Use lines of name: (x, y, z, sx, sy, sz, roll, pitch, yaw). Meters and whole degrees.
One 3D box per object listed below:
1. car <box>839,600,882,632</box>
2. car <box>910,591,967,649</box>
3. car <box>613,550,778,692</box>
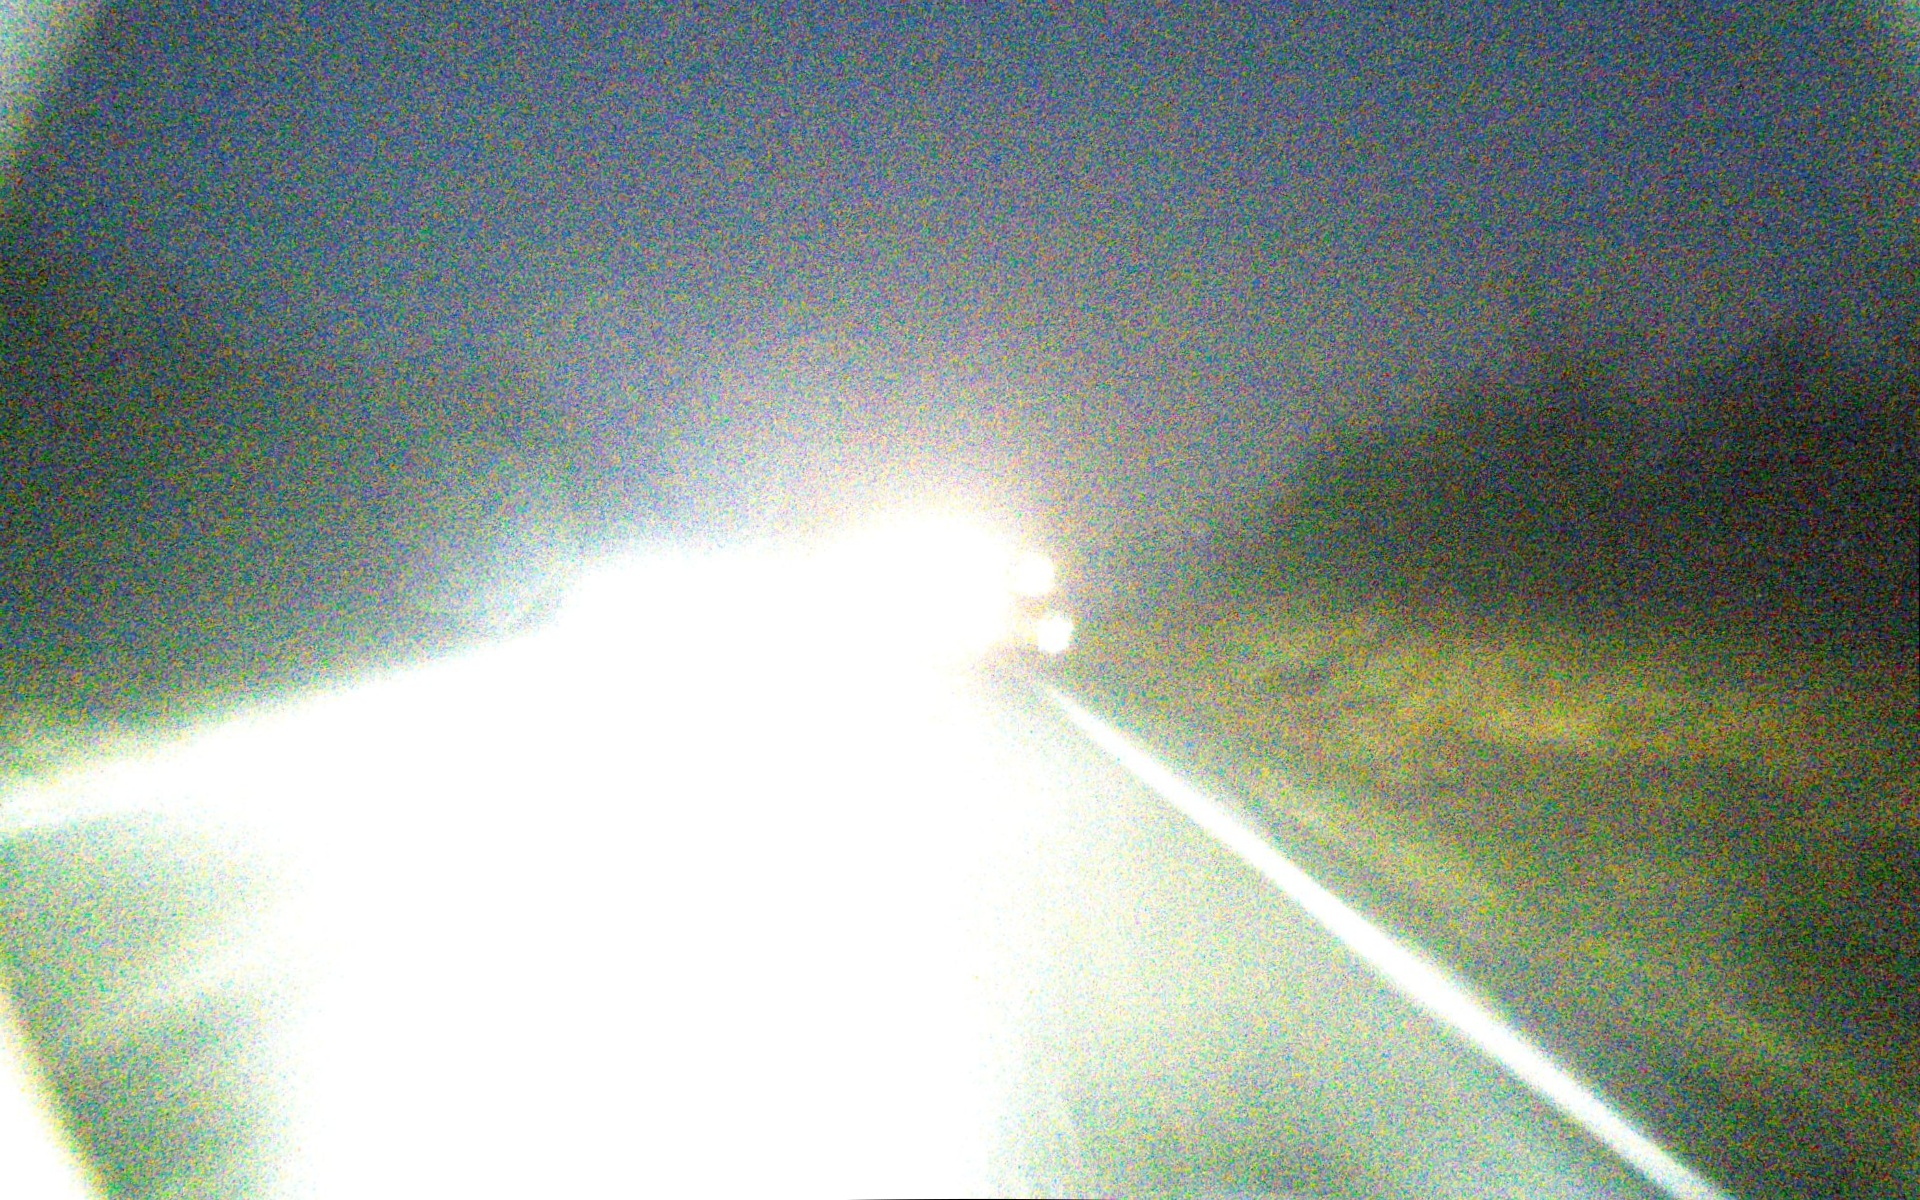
car: (-5.057, 0.791, 84.657, 1.953, 1.576, 3.999, -1, 0, -1)
car: (-0.774, 0.661, 57.517, 1.806, 1.770, 3.999, 2, 1, -3)
car: (-4.089, 0.315, 26.178, 1.953, 2.049, 3.999, 1, 0, 0)
